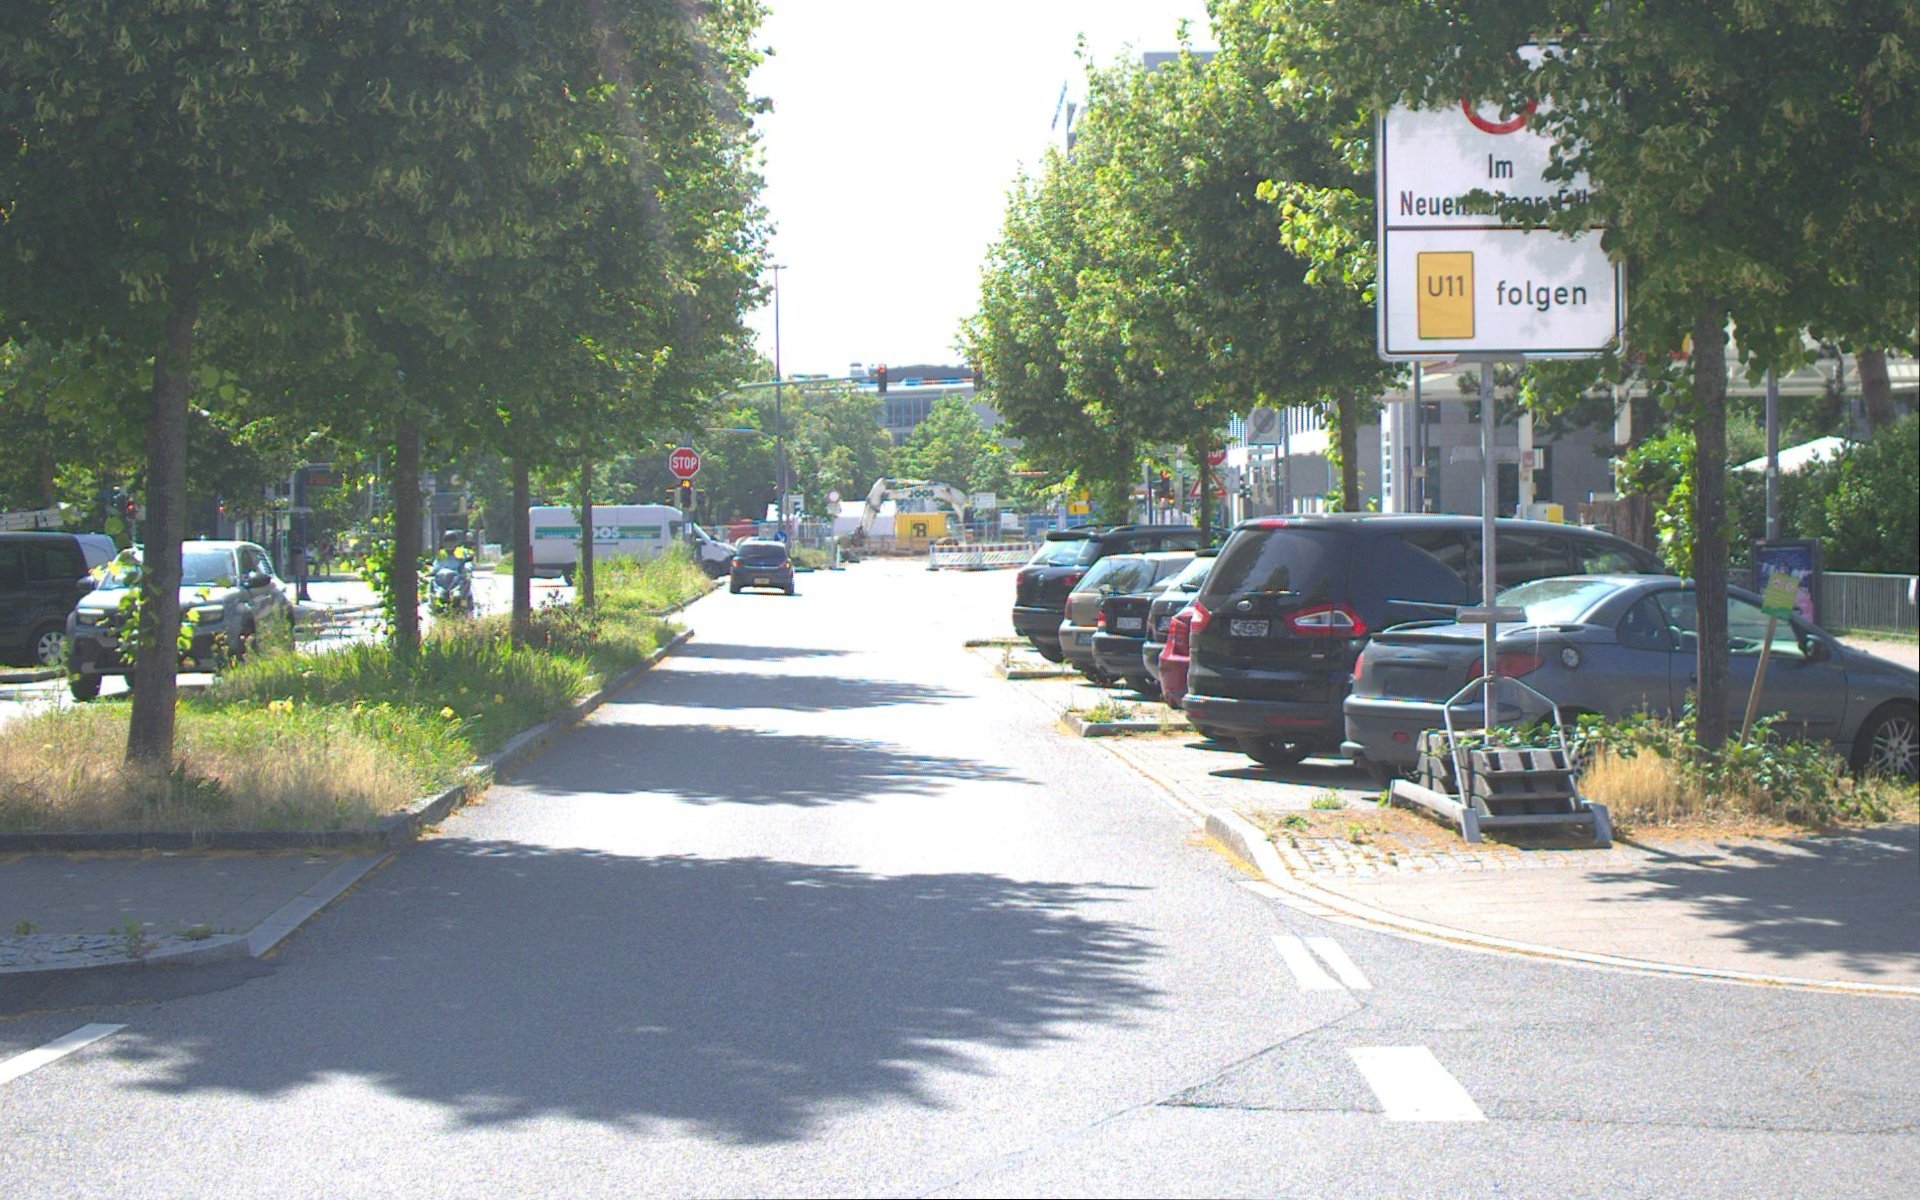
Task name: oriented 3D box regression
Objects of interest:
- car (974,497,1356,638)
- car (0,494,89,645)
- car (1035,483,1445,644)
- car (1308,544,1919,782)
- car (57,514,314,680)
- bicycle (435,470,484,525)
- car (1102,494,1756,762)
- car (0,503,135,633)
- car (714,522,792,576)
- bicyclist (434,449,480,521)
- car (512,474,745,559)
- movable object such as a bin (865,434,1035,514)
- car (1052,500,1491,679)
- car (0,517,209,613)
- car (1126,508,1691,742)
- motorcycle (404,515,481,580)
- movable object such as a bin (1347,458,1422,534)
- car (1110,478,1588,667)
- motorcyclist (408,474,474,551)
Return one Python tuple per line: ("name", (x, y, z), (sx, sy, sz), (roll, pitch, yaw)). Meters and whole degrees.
("car", (2.605, -0.453, 43.119), (4.731, 1.654, 1.753), (-2, 2, -36))
("car", (-13.006, -0.346, 41.849), (4.176, 1.810, 2.004), (-3, 3, -40))
("car", (2.960, -0.414, 36.613), (3.986, 1.634, 1.753), (-1, 2, -14))
("car", (4.235, 0.319, 20.502), (3.986, 1.232, 1.753), (-1, 2, -28))
("car", (-7.872, -0.082, 35.280), (1.741, 1.541, 4.073), (-2, 2, -1))
("bicycle", (-20.710, -4.244, 142.335), (1.599, 2.261, 4.001), (0, 2, -2))
("car", (3.216, 0.116, 23.314), (4.107, 1.634, 2.044), (-2, 2, -35))
("car", (-13.581, -0.457, 47.764), (3.762, 1.766, 1.819), (-1, 2, -28))
("car", (-5.706, -1.416, 94.465), (1.993, 1.393, 4.001), (0, 2, -5))
("bicyclist", (-20.679, -4.729, 141.503), (1.599, 2.921, 2.354), (0, 1, -2))
("car", (-10.770, -2.743, 111.993), (7.427, 2.665, 2.904), (-1, 2, -5))
("movable object such as a bin", (-0.584, -7.220, 197.205), (9.675, 4.534, 3.164), (0, 2, 0))
("car", (3.089, -0.143, 34.107), (3.986, 1.634, 1.753), (-1, 3, -24))
("car", (-13.659, -0.555, 52.641), (3.831, 1.418, 1.715), (-2, 2, -38))
("car", (3.445, 0.148, 26.195), (3.987, 1.634, 1.880), (-1, 0, -34))
("motorcycle", (-8.225, -0.847, 54.703), (0.923, 0.989, 2.235), (0, 2, -1))
("movable object such as a bin", (9.247, -2.266, 74.915), (1.307, 1.586, 1.396), (-3, 2, -4))
("car", (3.574, -0.286, 31.652), (3.986, 1.634, 1.801), (-1, 2, -21))
("motorcyclist", (-8.226, -1.391, 54.547), (0.900, 1.217, 1.062), (0, 2, -1))
